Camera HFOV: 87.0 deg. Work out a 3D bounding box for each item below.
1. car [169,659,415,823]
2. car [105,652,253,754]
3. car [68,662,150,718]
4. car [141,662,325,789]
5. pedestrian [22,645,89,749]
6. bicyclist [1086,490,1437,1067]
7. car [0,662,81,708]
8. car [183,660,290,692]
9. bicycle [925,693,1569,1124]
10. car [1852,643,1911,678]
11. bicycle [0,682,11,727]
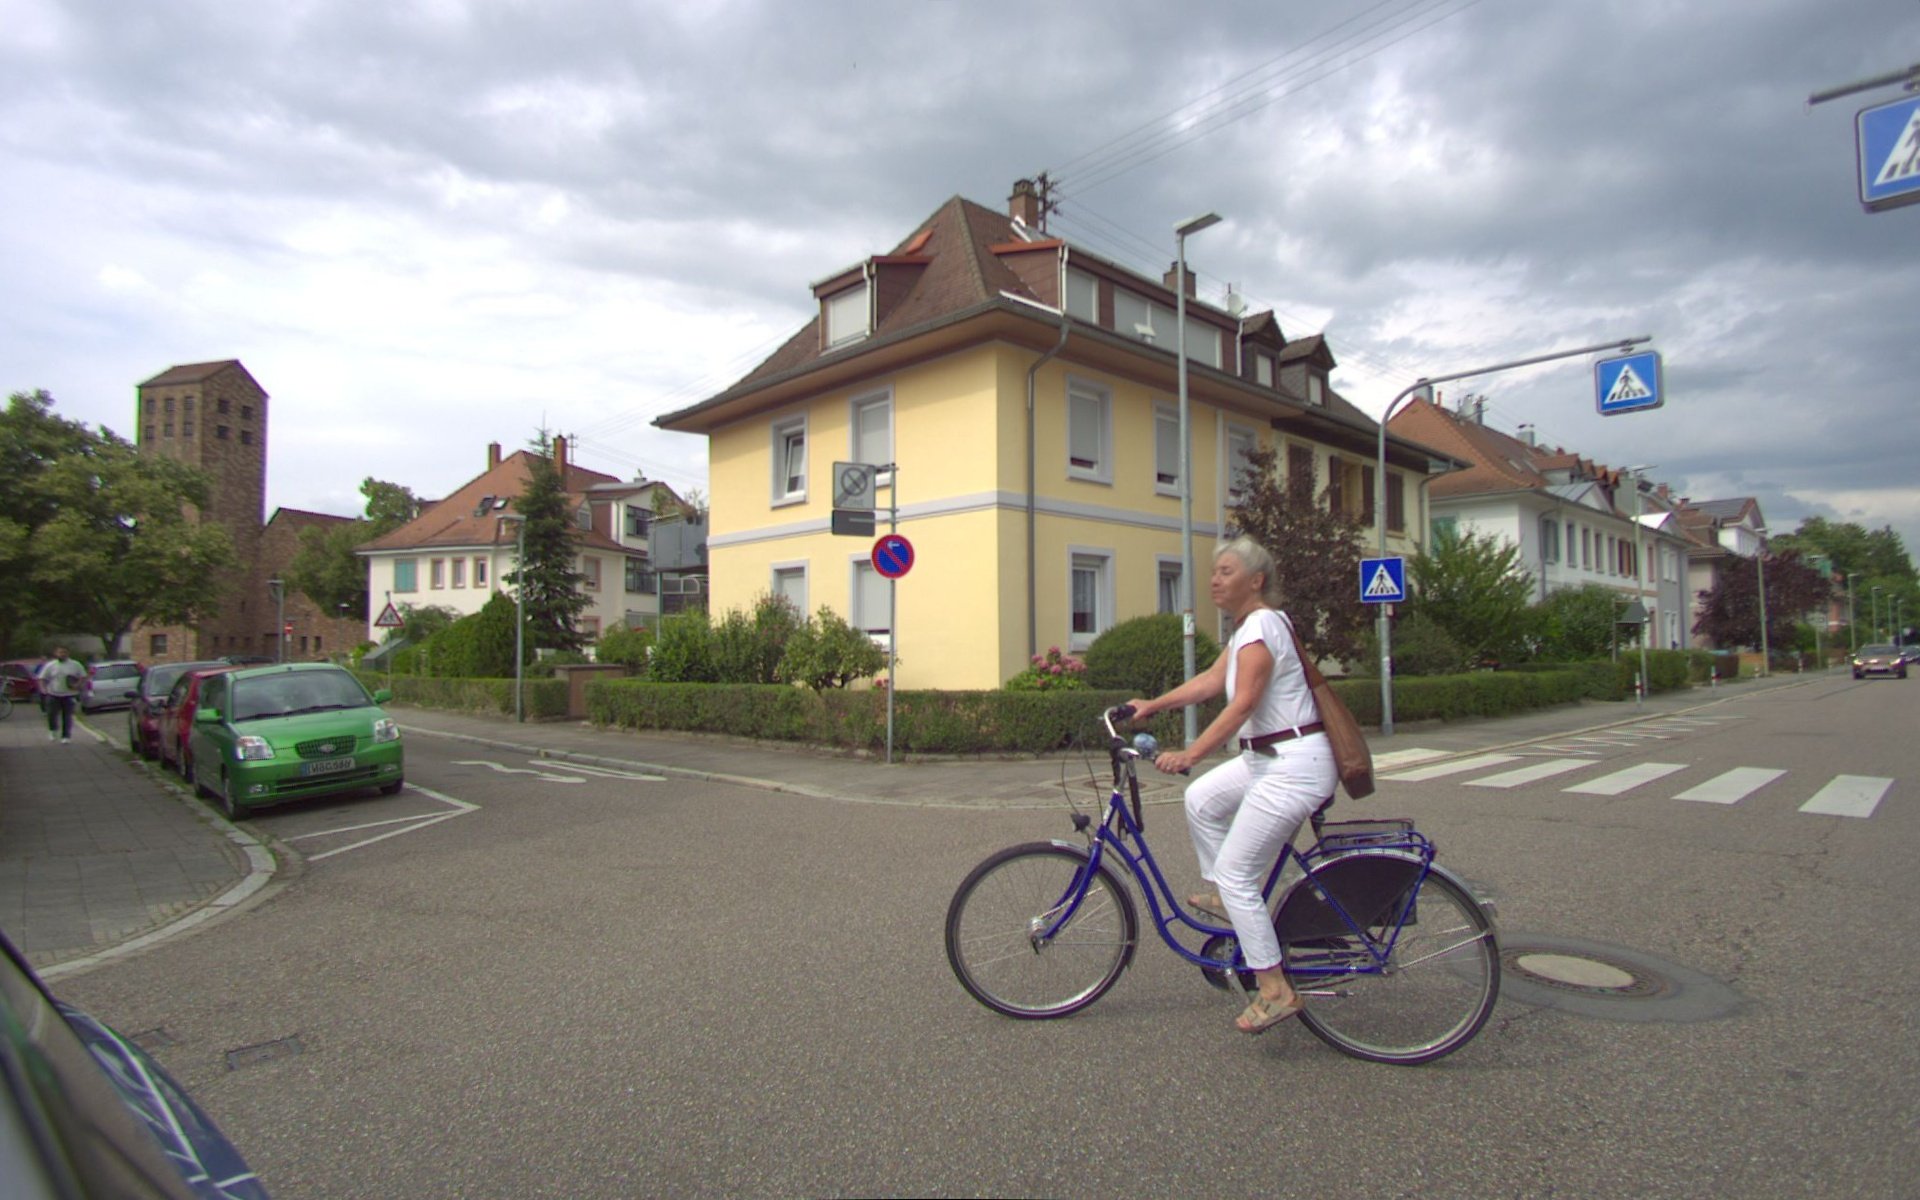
[{"bbox_3d":[-7.558,1.436,11.323,1.627,1.432,3.483,-2,-1,-45],"label":"car"},{"bbox_3d":[-13.751,1.729,17.760,1.627,1.507,3.483,-2,-1,-45],"label":"car"},{"bbox_3d":[-26.305,2.739,31.247,1.627,1.507,3.483,-2,-1,-45],"label":"car"},{"bbox_3d":[-10.641,1.713,14.723,1.627,1.507,3.483,-2,-1,-45],"label":"car"},{"bbox_3d":[-17.196,1.816,19.230,0.871,1.893,1.079,2,-4,-43],"label":"pedestrian"},{"bbox_3d":[0.988,0.543,3.437,0.966,1.679,0.695,-2,-3,16],"label":"bicyclist"},{"bbox_3d":[-33.805,3.102,36.985,3.471,1.507,1.632,-3,-1,34],"label":"car"},{"bbox_3d":[-36.501,3.819,51.149,4.165,1.475,1.685,3,-3,-45],"label":"car"},{"bbox_3d":[0.883,0.934,3.452,1.856,1.161,0.703,-3,-3,16],"label":"bicycle"},{"bbox_3d":[42.648,2.773,46.797,1.837,1.497,3.941,-2,-3,45],"label":"car"},{"bbox_3d":[-25.594,2.759,26.848,2.115,1.112,0.417,-3,-4,42],"label":"bicycle"}]
